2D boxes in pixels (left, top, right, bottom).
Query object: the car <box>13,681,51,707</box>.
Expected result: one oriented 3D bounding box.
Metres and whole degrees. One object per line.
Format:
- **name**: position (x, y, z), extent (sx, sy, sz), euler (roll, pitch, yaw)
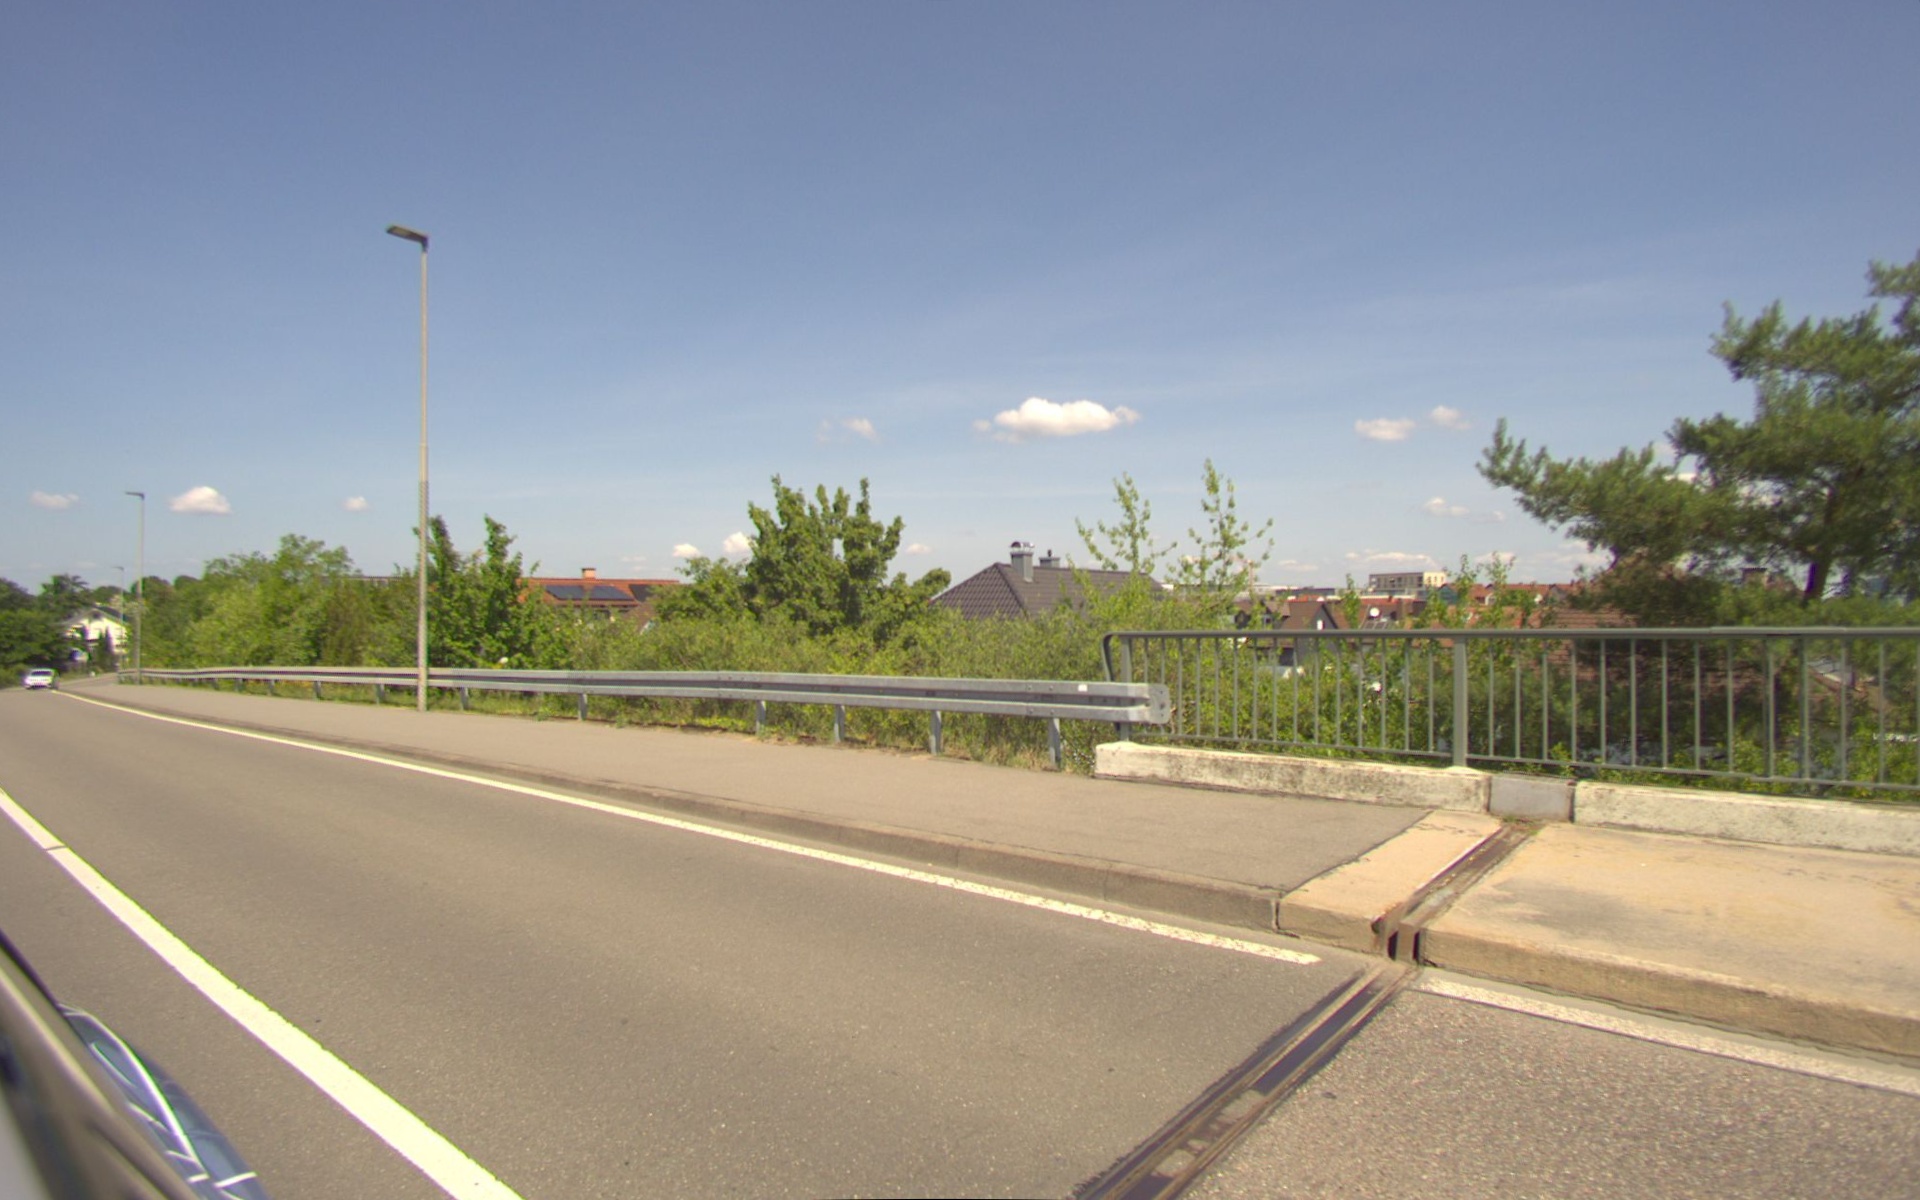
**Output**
- **car**: position (-80.554, 8.129, 87.833), extent (4.282, 1.774, 2.065), euler (-1, 1, 43)
